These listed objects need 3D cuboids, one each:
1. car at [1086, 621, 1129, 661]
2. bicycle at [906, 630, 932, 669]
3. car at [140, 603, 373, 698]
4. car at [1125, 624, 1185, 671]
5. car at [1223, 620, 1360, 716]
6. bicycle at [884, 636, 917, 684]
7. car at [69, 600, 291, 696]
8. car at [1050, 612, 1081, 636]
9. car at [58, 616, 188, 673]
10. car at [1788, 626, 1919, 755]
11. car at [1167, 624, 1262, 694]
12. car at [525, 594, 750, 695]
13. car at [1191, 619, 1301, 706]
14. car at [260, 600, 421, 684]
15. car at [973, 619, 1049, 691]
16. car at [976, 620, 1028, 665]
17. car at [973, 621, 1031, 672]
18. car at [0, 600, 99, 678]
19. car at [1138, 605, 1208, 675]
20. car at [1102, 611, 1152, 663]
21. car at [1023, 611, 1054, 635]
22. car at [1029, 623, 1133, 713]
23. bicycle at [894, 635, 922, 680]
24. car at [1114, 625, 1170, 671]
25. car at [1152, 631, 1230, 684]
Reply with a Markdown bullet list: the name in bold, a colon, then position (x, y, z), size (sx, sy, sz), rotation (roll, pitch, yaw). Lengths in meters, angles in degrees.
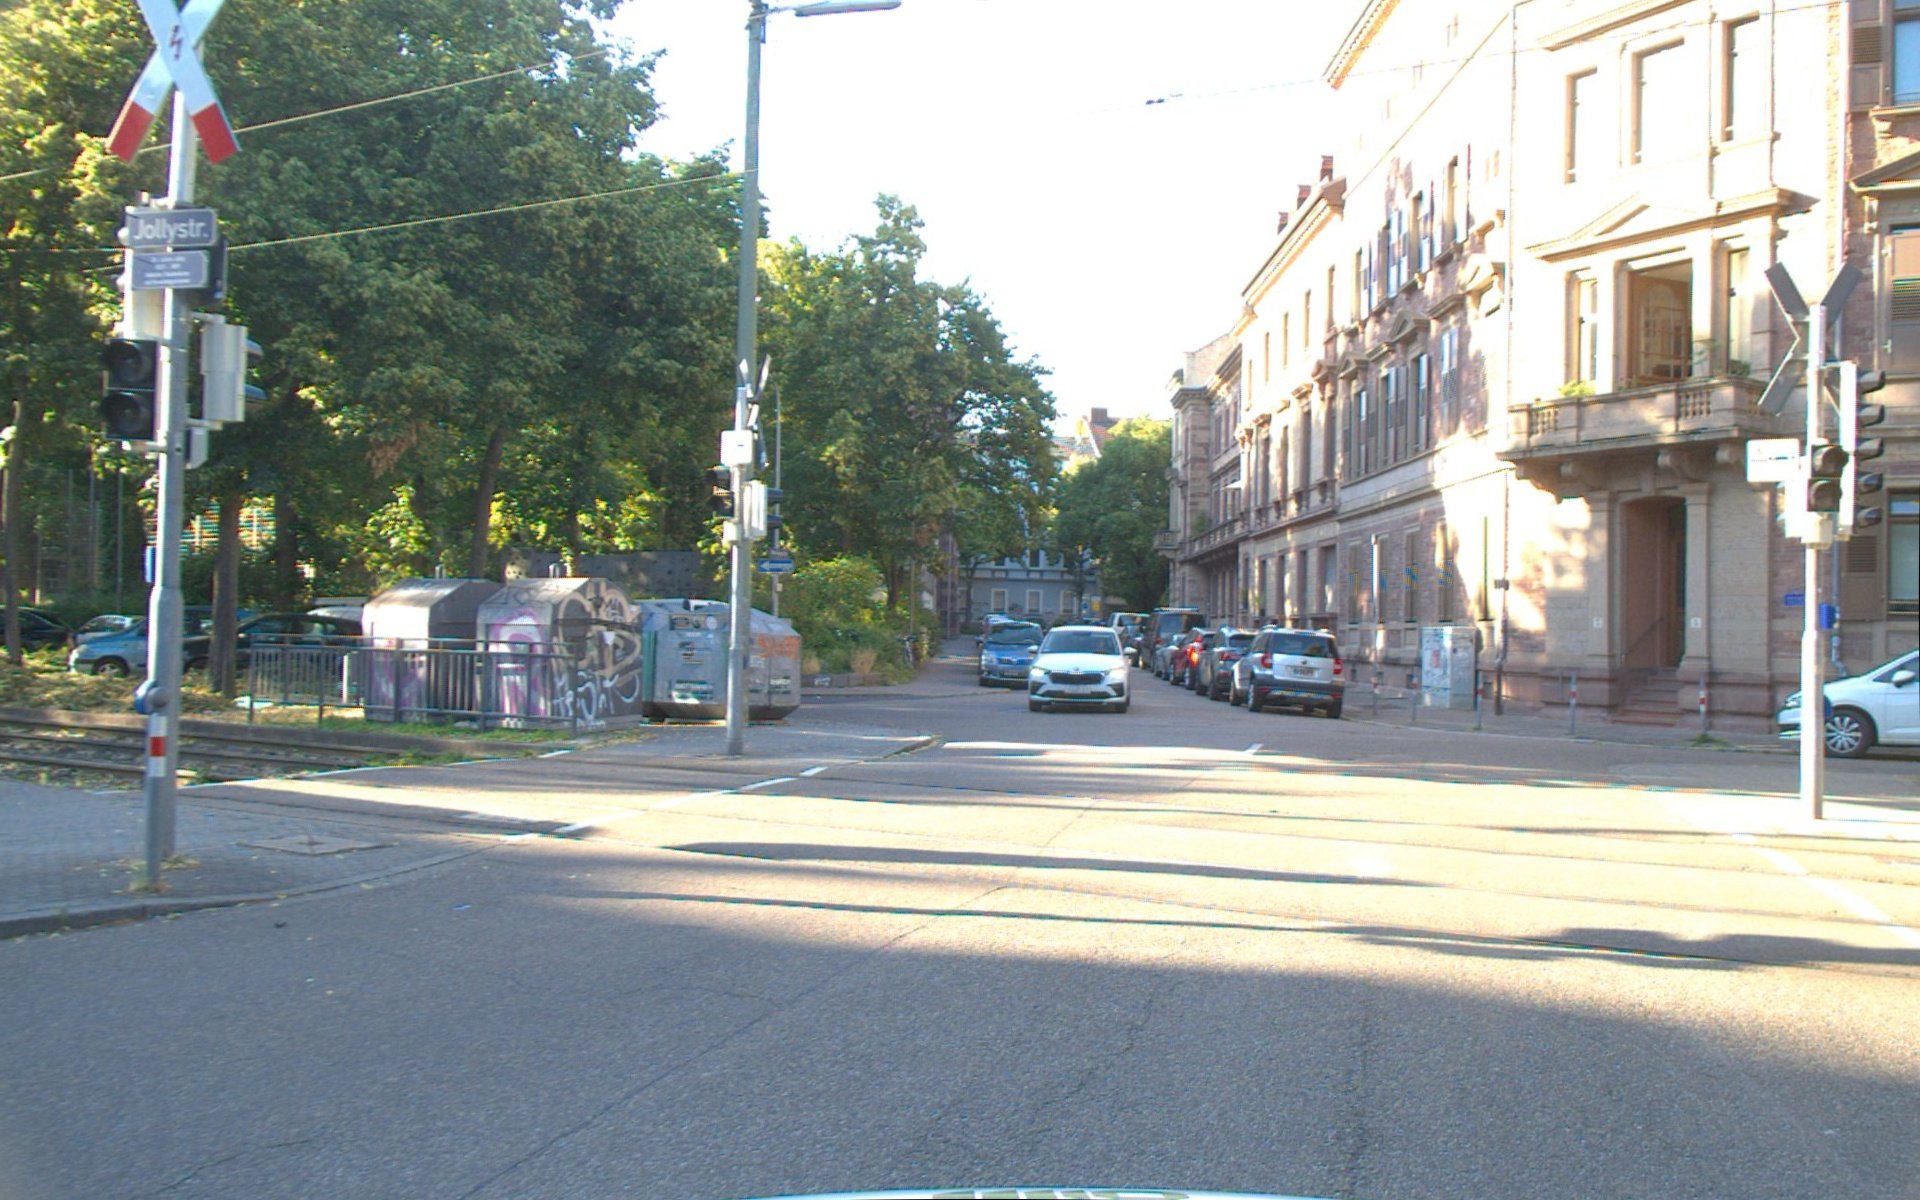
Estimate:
- **car**: position (7.360, 2.027, 82.837), size (1.761, 1.871, 3.955), rotation (4, -1, 1)
- **bicycle**: position (-1.232, 1.486, 50.297), size (0.584, 1.121, 2.628), rotation (1, -1, 3)
- **car**: position (-12.523, 0.913, 29.489), size (3.572, 1.473, 1.590), rotation (4, -3, -32)
- **car**: position (7.121, 1.706, 60.707), size (1.761, 1.550, 3.955), rotation (4, -1, 1)
- **car**: position (6.583, 1.325, 33.260), size (1.877, 1.685, 4.186), rotation (4, -1, 1)
- **bicycle**: position (-1.464, 1.475, 41.061), size (0.584, 1.121, 2.628), rotation (1, -1, 3)
- **car**: position (-14.698, 0.914, 31.193), size (3.571, 1.590, 1.590), rotation (4, -3, -32)
- **car**: position (8.513, 1.943, 133.509), size (1.954, 1.713, 3.996), rotation (2, -3, -4)
- **car**: position (-23.077, 1.214, 45.579), size (3.523, 1.493, 1.572), rotation (0, -1, 32)
- **car**: position (13.672, 1.268, 22.390), size (4.397, 1.679, 1.872), rotation (1, -3, 28)
- **car**: position (6.664, 1.519, 43.699), size (1.761, 1.642, 3.954), rotation (4, -1, -1)
- **car**: position (-7.003, 0.928, 35.835), size (4.554, 2.038, 1.948), rotation (0, -1, 27)
- **car**: position (6.560, 1.395, 38.362), size (1.788, 1.753, 4.544), rotation (4, -1, 2)
- **car**: position (-15.080, 0.986, 40.233), size (3.816, 1.937, 1.573), rotation (0, -1, 30)
- **car**: position (1.327, 1.388, 43.106), size (1.788, 1.643, 4.292), rotation (4, -1, 2)
- **car**: position (1.571, 1.571, 61.909), size (1.788, 1.526, 3.931), rotation (4, -1, 2)
- **car**: position (1.415, 1.535, 55.307), size (1.788, 1.503, 3.931), rotation (4, -1, 2)
- **car**: position (-20.187, 0.780, 34.382), size (3.786, 1.523, 1.716), rotation (5, -5, -36)
- **car**: position (6.996, 1.305, 54.605), size (1.761, 2.108, 3.955), rotation (3, -1, 1)
- **car**: position (7.193, 1.580, 71.501), size (1.761, 2.108, 3.955), rotation (3, -1, 1)
- **car**: position (6.333, 1.860, 133.236), size (1.954, 1.713, 3.996), rotation (2, -3, -4)
- **car**: position (2.241, 1.174, 29.888), size (1.666, 1.482, 4.065), rotation (1, -1, 7)
- **bicycle**: position (-1.353, 1.500, 43.779), size (0.584, 1.121, 2.627), rotation (1, -1, 1)
- **car**: position (7.203, 1.894, 65.780), size (1.761, 1.651, 3.955), rotation (4, -1, 1)
- **car**: position (6.746, 1.665, 48.709), size (1.761, 1.369, 3.955), rotation (4, -1, 1)
